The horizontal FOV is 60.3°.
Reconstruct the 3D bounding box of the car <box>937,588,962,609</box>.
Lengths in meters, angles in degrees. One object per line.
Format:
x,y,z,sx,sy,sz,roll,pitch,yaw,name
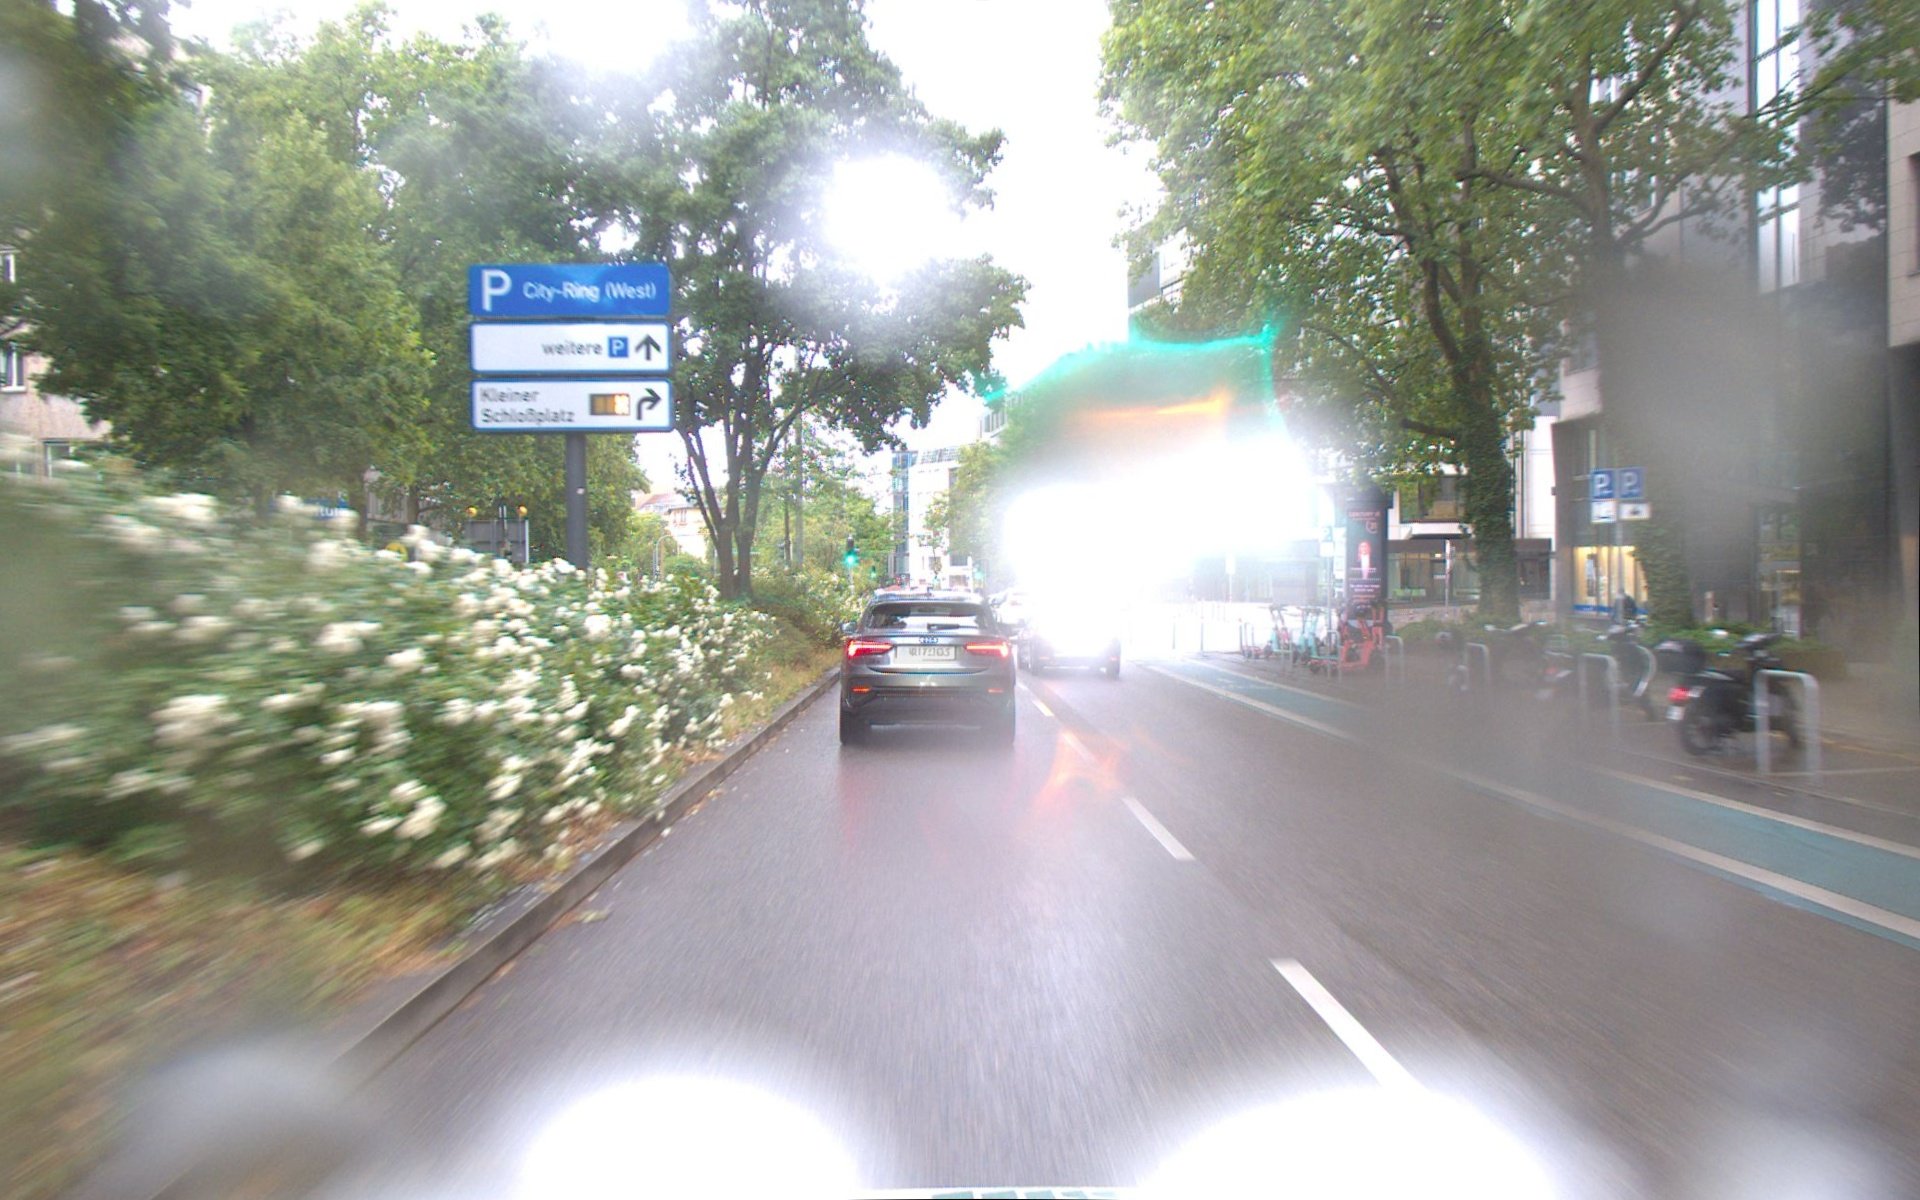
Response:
-0.801,-0.100,123.880,1.812,1.550,4.038,0,0,-1,car

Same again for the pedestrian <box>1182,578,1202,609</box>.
12.759,-0.361,90.961,0.790,1.726,1.186,0,0,-6,pedestrian

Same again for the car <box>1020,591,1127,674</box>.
2.208,0.604,33.191,1.812,1.550,4.038,0,0,-1,car

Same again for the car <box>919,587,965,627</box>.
-0.760,0.269,67.483,1.812,1.550,4.038,0,0,-1,car

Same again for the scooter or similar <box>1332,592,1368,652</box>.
8.782,0.478,37.267,0.477,1.281,1.293,-2,2,-1,scooter or similar

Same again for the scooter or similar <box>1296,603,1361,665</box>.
7.867,0.716,35.347,1.263,1.257,0.489,-2,2,1,scooter or similar

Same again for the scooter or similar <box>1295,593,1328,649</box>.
8.541,0.496,40.198,0.477,1.281,1.293,-2,2,-1,scooter or similar

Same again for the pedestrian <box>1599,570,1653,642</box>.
17.734,0.167,44.079,0.899,1.882,1.276,0,-1,-2,pedestrian

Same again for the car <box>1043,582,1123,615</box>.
5.949,-0.075,80.039,3.572,1.574,1.716,0,0,18,car

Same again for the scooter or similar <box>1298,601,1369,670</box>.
7.490,0.699,33.201,1.267,1.300,0.535,-2,2,-12,scooter or similar

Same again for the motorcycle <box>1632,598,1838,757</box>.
7.602,0.724,16.213,1.929,1.397,0.724,-2,2,-23,motorcycle

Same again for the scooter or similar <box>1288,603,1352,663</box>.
7.852,0.721,36.091,1.263,1.257,0.489,-2,2,1,scooter or similar

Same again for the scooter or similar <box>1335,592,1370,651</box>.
9.131,0.489,38.505,0.477,1.281,1.293,-2,2,-1,scooter or similar

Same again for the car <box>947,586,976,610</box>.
0.072,-0.156,109.677,1.812,1.550,4.038,0,0,-1,car

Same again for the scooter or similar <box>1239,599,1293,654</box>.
7.435,0.638,40.155,1.262,1.281,0.490,-1,2,11,scooter or similar

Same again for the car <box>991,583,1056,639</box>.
1.956,0.328,52.059,1.812,1.698,4.038,0,0,-1,car

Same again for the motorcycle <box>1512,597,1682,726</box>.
7.597,0.707,19.715,1.929,1.397,0.724,-2,2,-23,motorcycle

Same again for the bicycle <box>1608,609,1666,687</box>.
9.679,0.665,23.629,0.625,1.046,1.761,0,0,27,bicycle

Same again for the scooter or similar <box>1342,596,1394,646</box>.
10.073,0.513,40.862,0.483,1.219,1.279,0,-1,-31,scooter or similar

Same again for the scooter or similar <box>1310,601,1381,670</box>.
7.574,0.695,32.518,1.262,1.300,0.537,-2,2,3,scooter or similar

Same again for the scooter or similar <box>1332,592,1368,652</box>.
8.782,0.478,37.267,0.477,1.281,1.293,-2,2,-1,scooter or similar

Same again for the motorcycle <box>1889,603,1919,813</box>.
7.691,0.725,11.841,2.025,1.453,0.724,-2,2,-23,motorcycle

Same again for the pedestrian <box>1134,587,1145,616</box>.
11.373,0.078,104.763,0.542,1.836,0.761,0,-1,-4,pedestrian

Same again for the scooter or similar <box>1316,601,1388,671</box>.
7.598,0.692,32.075,1.262,1.300,0.537,-2,2,3,scooter or similar

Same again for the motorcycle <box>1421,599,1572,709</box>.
7.435,0.726,22.919,1.925,1.397,0.726,-2,2,-18,motorcycle

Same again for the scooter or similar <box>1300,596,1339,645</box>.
8.922,0.504,41.062,0.479,1.219,1.290,0,0,-10,scooter or similar

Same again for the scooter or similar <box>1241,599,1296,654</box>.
7.371,0.634,39.542,1.262,1.281,0.490,-1,2,11,scooter or similar

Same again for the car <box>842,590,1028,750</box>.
-0.301,0.672,18.100,1.812,1.550,4.037,0,0,-2,car

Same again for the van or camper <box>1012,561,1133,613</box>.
5.822,-0.662,86.136,5.946,2.603,2.103,0,0,26,van or camper

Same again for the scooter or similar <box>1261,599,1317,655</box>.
7.748,0.634,39.017,1.262,1.281,0.490,-1,2,11,scooter or similar
